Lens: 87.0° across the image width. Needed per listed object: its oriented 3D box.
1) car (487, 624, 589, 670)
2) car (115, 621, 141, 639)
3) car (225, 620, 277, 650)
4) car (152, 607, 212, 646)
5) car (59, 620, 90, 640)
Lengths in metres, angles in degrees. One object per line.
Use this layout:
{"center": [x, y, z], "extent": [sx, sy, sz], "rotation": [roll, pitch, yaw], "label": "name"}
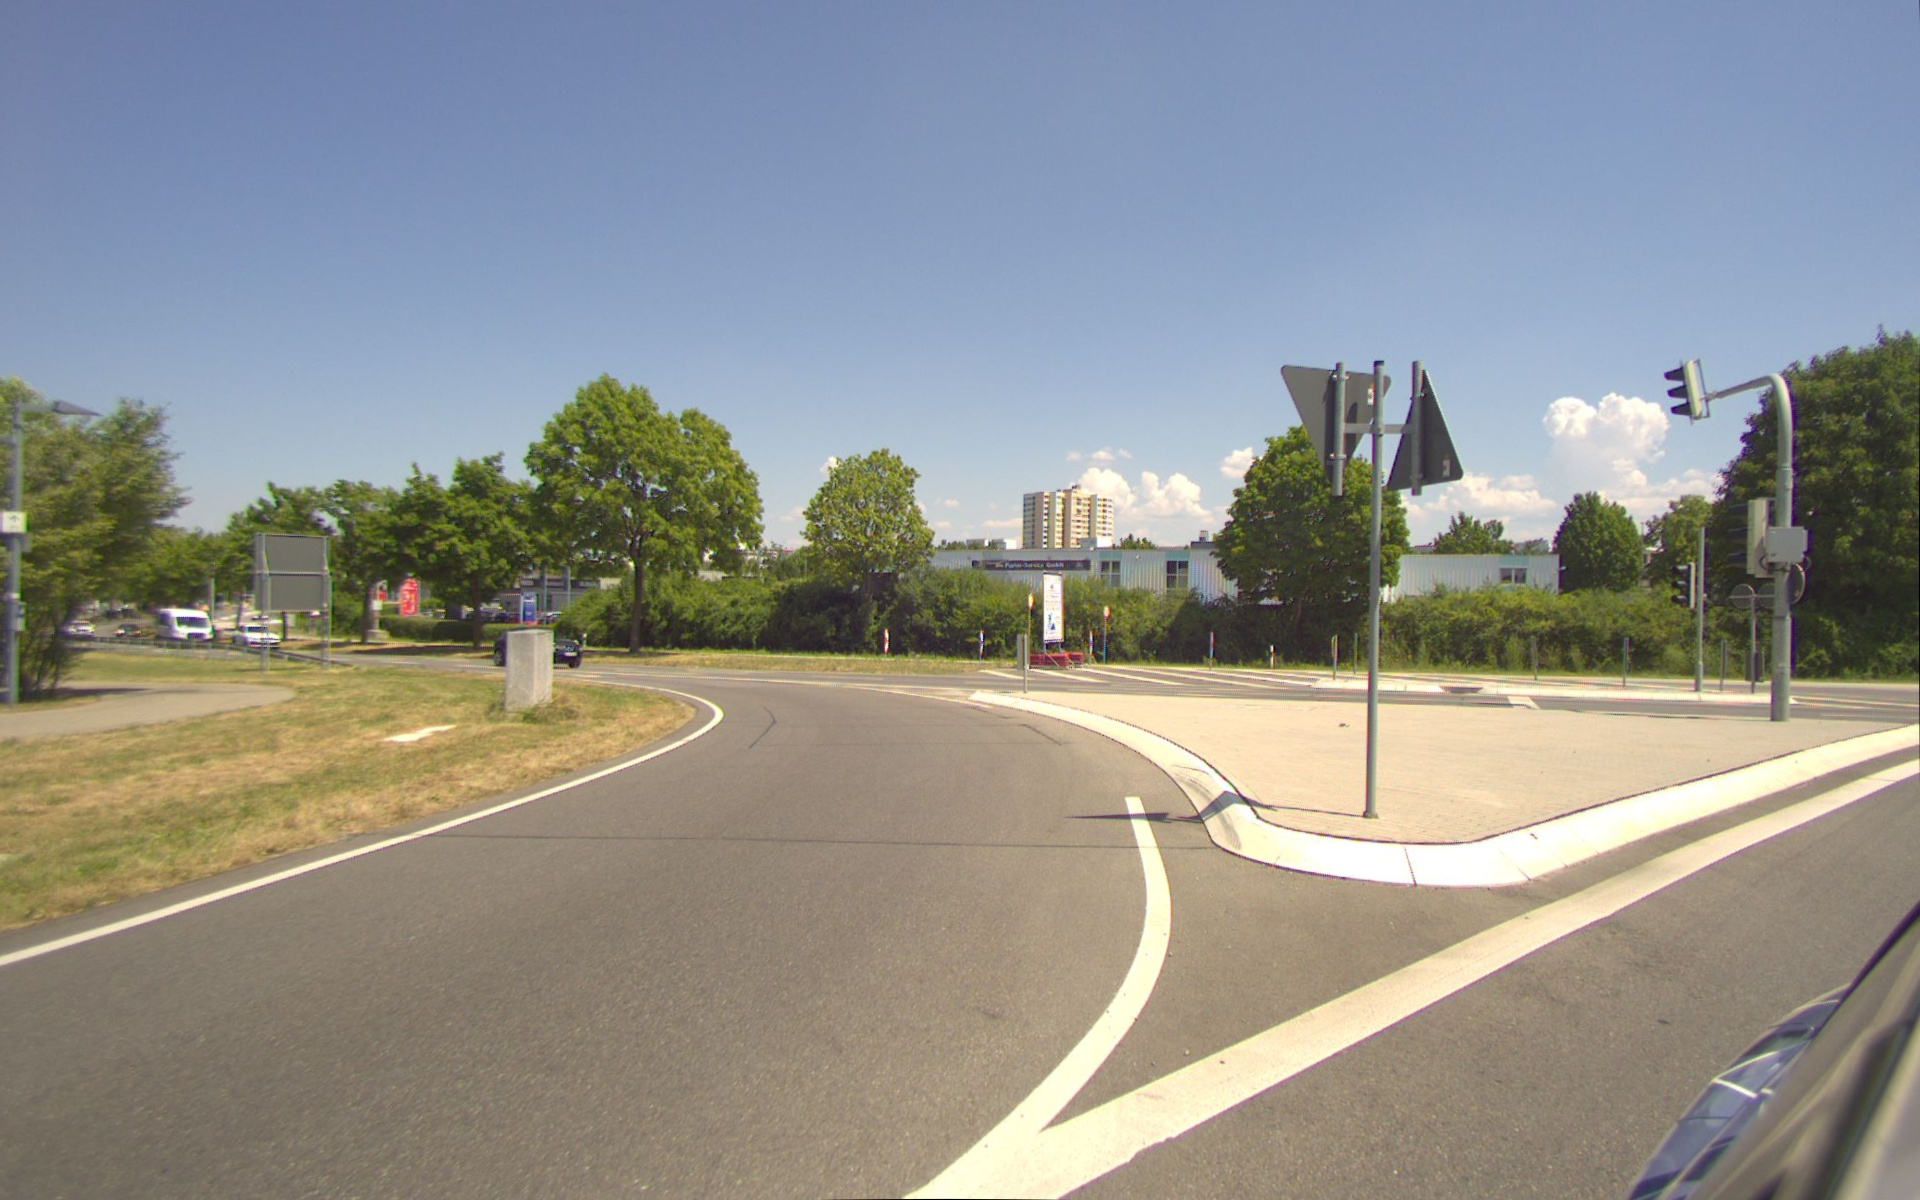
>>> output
{"center": [-16.183, 1.732, 38.715], "extent": [4.334, 1.620, 1.909], "rotation": [-1, -1, 41], "label": "car"}
{"center": [-85.616, 3.077, 104.151], "extent": [1.837, 1.728, 4.237], "rotation": [0, -1, -42], "label": "car"}
{"center": [-46.510, 2.251, 66.380], "extent": [4.227, 1.833, 1.842], "rotation": [0, -1, 41], "label": "car"}
{"center": [-48.949, 1.624, 63.672], "extent": [4.993, 2.326, 2.024], "rotation": [0, -1, 41], "label": "car"}
{"center": [-84.922, 2.824, 97.058], "extent": [4.232, 1.833, 1.839], "rotation": [-1, -1, 44], "label": "car"}
